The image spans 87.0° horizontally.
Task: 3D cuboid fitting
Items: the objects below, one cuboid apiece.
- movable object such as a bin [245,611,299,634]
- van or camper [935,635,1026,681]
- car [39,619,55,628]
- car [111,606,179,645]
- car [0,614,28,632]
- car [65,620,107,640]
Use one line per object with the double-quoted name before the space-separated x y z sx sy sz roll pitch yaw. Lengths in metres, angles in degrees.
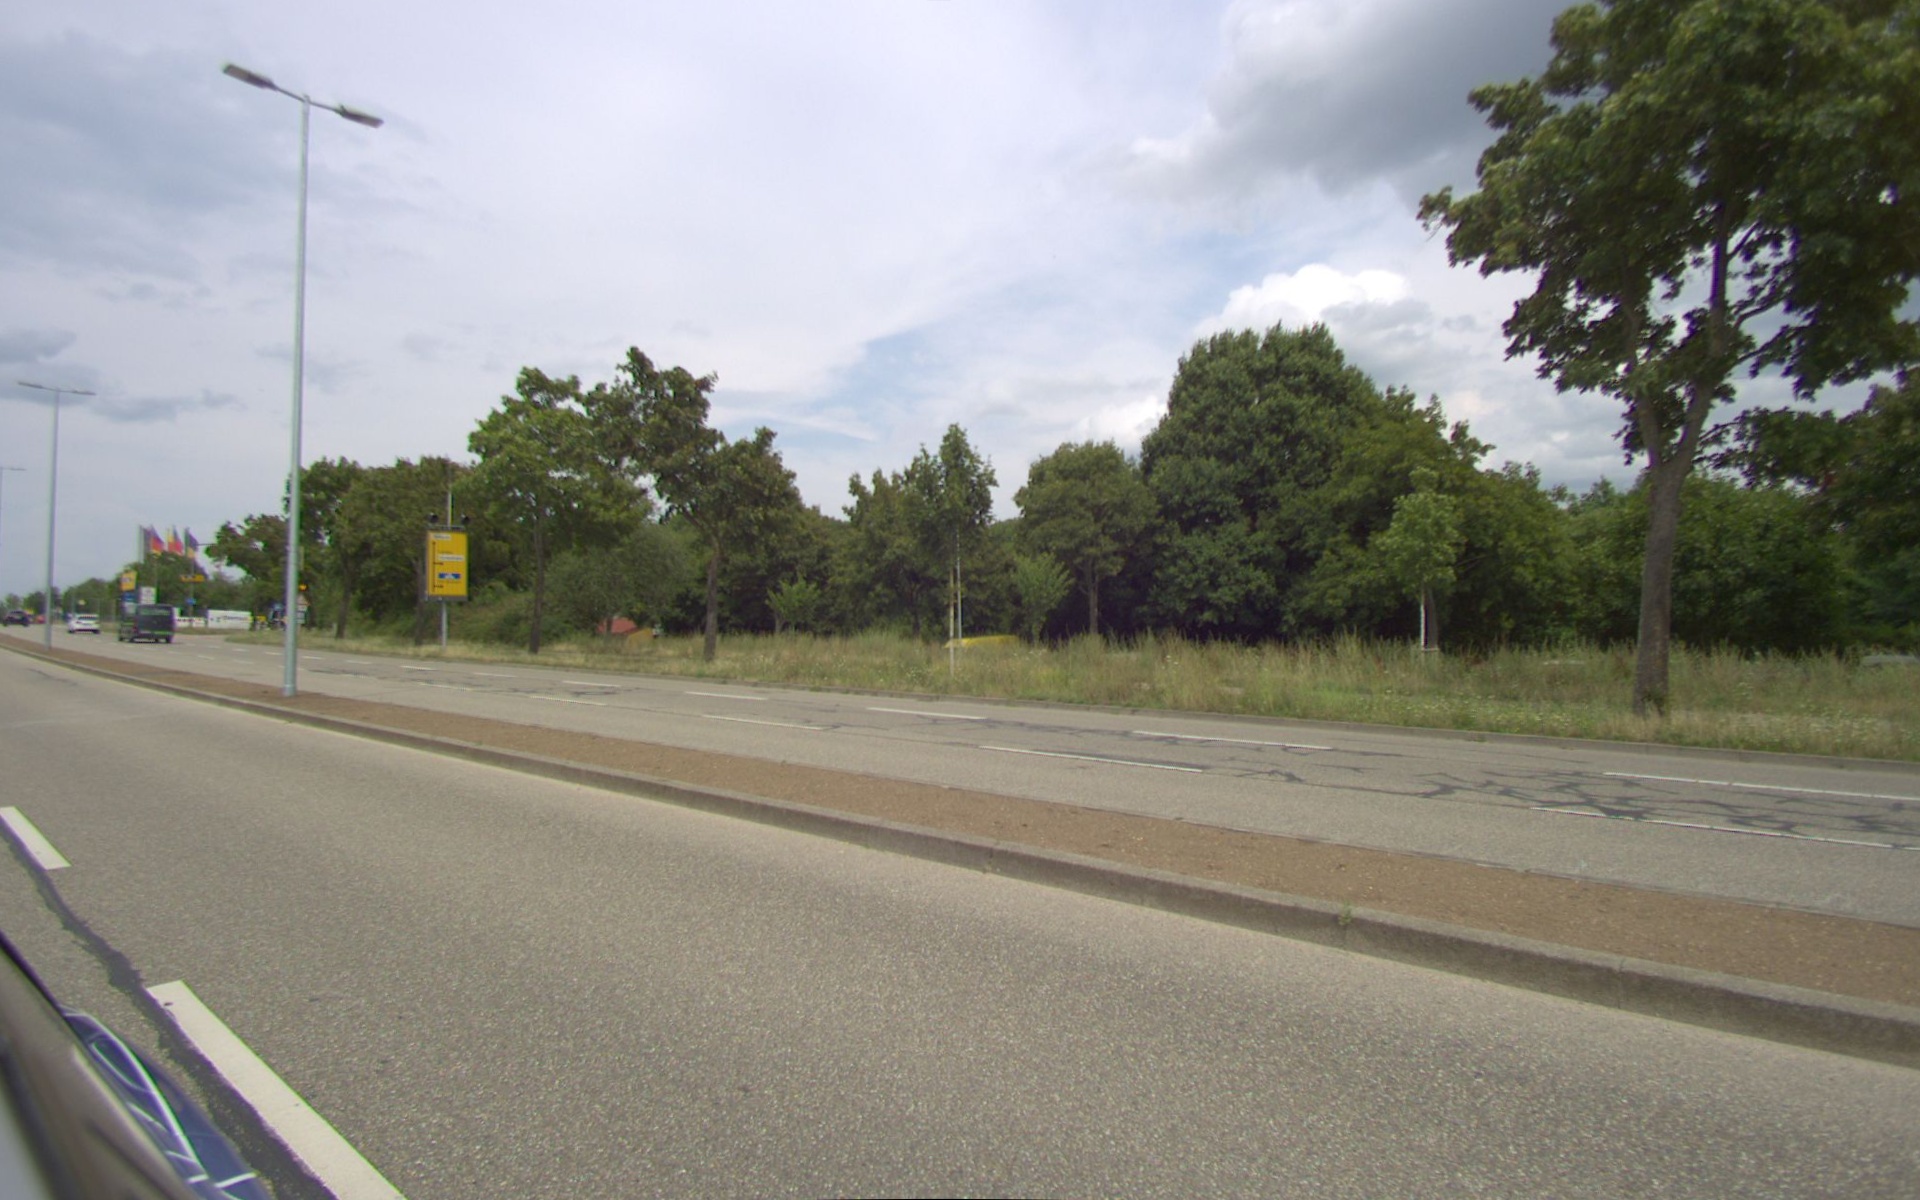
"movable object such as a bin" -76.093 2.515 112.029 1.994 2.415 4.541 -2 -2 33
"van or camper" 1.049 2.852 50.480 4.298 2.029 2.004 -1 0 -39
"car" -144.642 3.676 160.314 1.734 1.332 4.349 1 -3 -44
"car" -48.293 1.543 59.936 6.001 2.218 2.073 -2 -3 41
"car" -101.070 2.433 107.968 4.796 1.825 1.972 -2 -4 42
"car" -68.404 2.365 79.185 4.688 1.442 1.971 -2 -3 43
